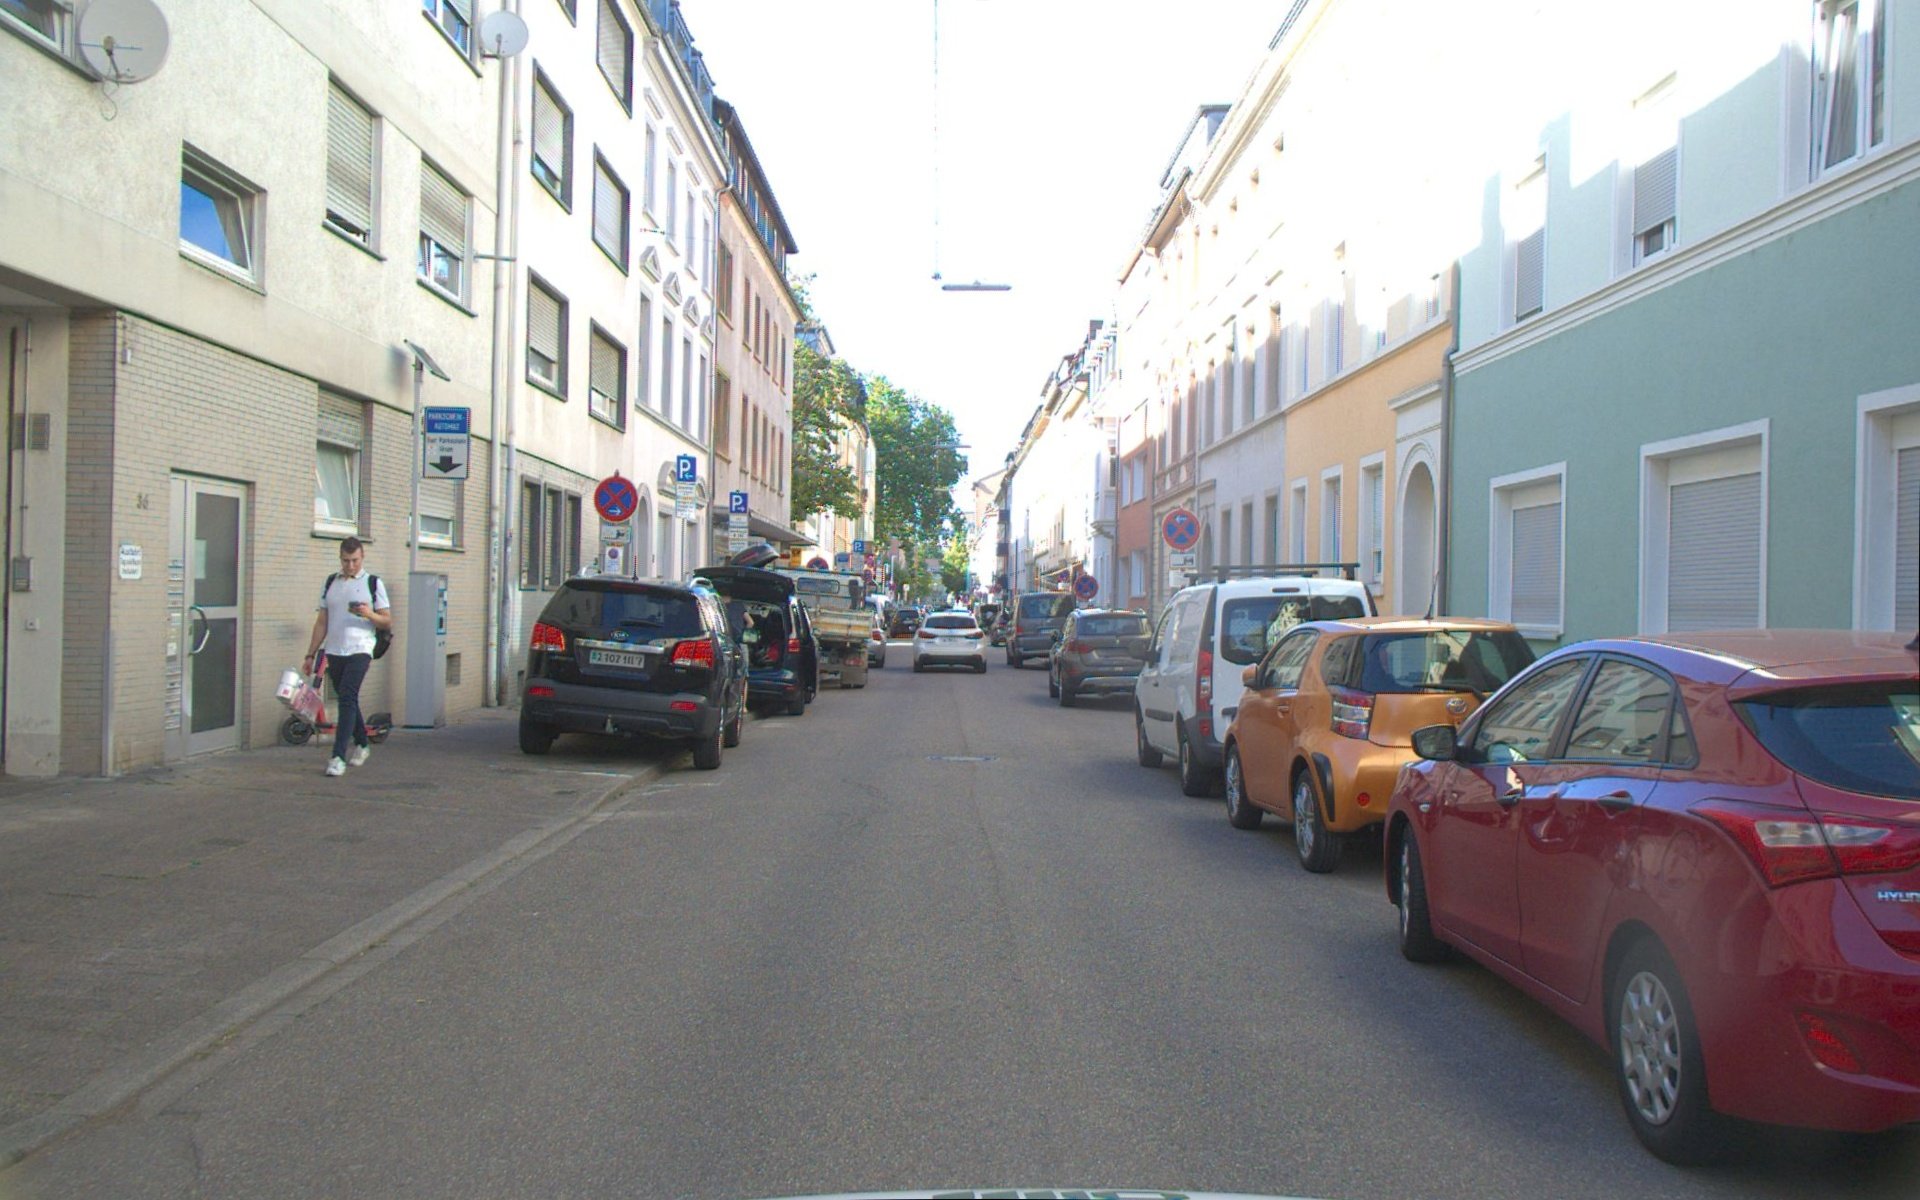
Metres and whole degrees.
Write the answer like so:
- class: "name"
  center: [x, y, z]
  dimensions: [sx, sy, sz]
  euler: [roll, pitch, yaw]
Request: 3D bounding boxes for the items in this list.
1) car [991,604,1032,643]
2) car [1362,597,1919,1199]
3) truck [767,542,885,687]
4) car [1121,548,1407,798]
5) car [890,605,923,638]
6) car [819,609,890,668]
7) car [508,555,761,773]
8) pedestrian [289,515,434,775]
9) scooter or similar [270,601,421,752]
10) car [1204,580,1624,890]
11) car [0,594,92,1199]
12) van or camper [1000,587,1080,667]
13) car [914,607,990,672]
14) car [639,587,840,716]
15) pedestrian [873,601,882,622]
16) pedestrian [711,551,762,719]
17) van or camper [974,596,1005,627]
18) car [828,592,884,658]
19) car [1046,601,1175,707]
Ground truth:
- class: "car"
  center: [2.191, 0.971, 70.510]
  dimensions: [1.613, 1.604, 3.678]
  euler: [0, 0, 0]
- class: "car"
  center: [2.824, 0.806, 5.946]
  dimensions: [1.707, 1.596, 4.031]
  euler: [0, 0, -1]
- class: "truck"
  center: [-2.705, 0.324, 33.101]
  dimensions: [2.115, 2.636, 6.242]
  euler: [0, -1, -5]
- class: "car"
  center: [2.648, 0.599, 15.416]
  dimensions: [1.746, 1.996, 4.334]
  euler: [0, 0, -2]
- class: "car"
  center: [-2.717, 1.071, 84.988]
  dimensions: [1.591, 1.625, 3.580]
  euler: [1, 0, 0]
- class: "car"
  center: [-2.780, 1.000, 44.323]
  dimensions: [1.723, 1.440, 3.998]
  euler: [-2, 0, -2]
- class: "car"
  center: [-3.088, 0.538, 16.609]
  dimensions: [1.843, 1.786, 4.539]
  euler: [4, 0, -4]
- class: "pedestrian"
  center: [-4.738, 0.347, 13.134]
  dimensions: [0.790, 1.967, 0.690]
  euler: [3, 0, -1]
- class: "scooter or similar"
  center: [-5.513, 0.663, 14.879]
  dimensions: [0.430, 1.300, 1.227]
  euler: [-1, 0, 40]
- class: "car"
  center: [2.774, 0.740, 10.931]
  dimensions: [1.549, 1.660, 3.679]
  euler: [2, 0, -3]
- class: "car"
  center: [-2.595, 0.709, 1.273]
  dimensions: [1.672, 1.475, 4.300]
  euler: [1, 0, -2]
- class: "van or camper"
  center: [2.161, 0.727, 45.902]
  dimensions: [1.739, 2.072, 4.567]
  euler: [-1, 0, -3]
- class: "car"
  center: [-0.167, 0.943, 41.197]
  dimensions: [1.796, 1.512, 4.057]
  euler: [0, 0, 0]
- class: "car"
  center: [-3.205, 0.702, 25.268]
  dimensions: [2.391, 1.735, 5.241]
  euler: [1, 0, -1]
- class: "pedestrian"
  center: [-5.882, 0.805, 117.302]
  dimensions: [0.614, 1.490, 0.575]
  euler: [0, -2, -1]
- class: "pedestrian"
  center: [-3.059, 0.475, 22.707]
  dimensions: [0.606, 2.268, 0.688]
  euler: [0, -2, -1]
- class: "van or camper"
  center: [1.896, 0.751, 108.482]
  dimensions: [1.953, 1.959, 3.999]
  euler: [0, -1, 0]
- class: "car"
  center: [-3.116, 0.721, 49.939]
  dimensions: [1.614, 1.900, 3.997]
  euler: [0, 0, -3]
- class: "car"
  center: [2.464, 0.843, 27.996]
  dimensions: [1.704, 1.604, 4.377]
  euler: [0, 1, -1]
